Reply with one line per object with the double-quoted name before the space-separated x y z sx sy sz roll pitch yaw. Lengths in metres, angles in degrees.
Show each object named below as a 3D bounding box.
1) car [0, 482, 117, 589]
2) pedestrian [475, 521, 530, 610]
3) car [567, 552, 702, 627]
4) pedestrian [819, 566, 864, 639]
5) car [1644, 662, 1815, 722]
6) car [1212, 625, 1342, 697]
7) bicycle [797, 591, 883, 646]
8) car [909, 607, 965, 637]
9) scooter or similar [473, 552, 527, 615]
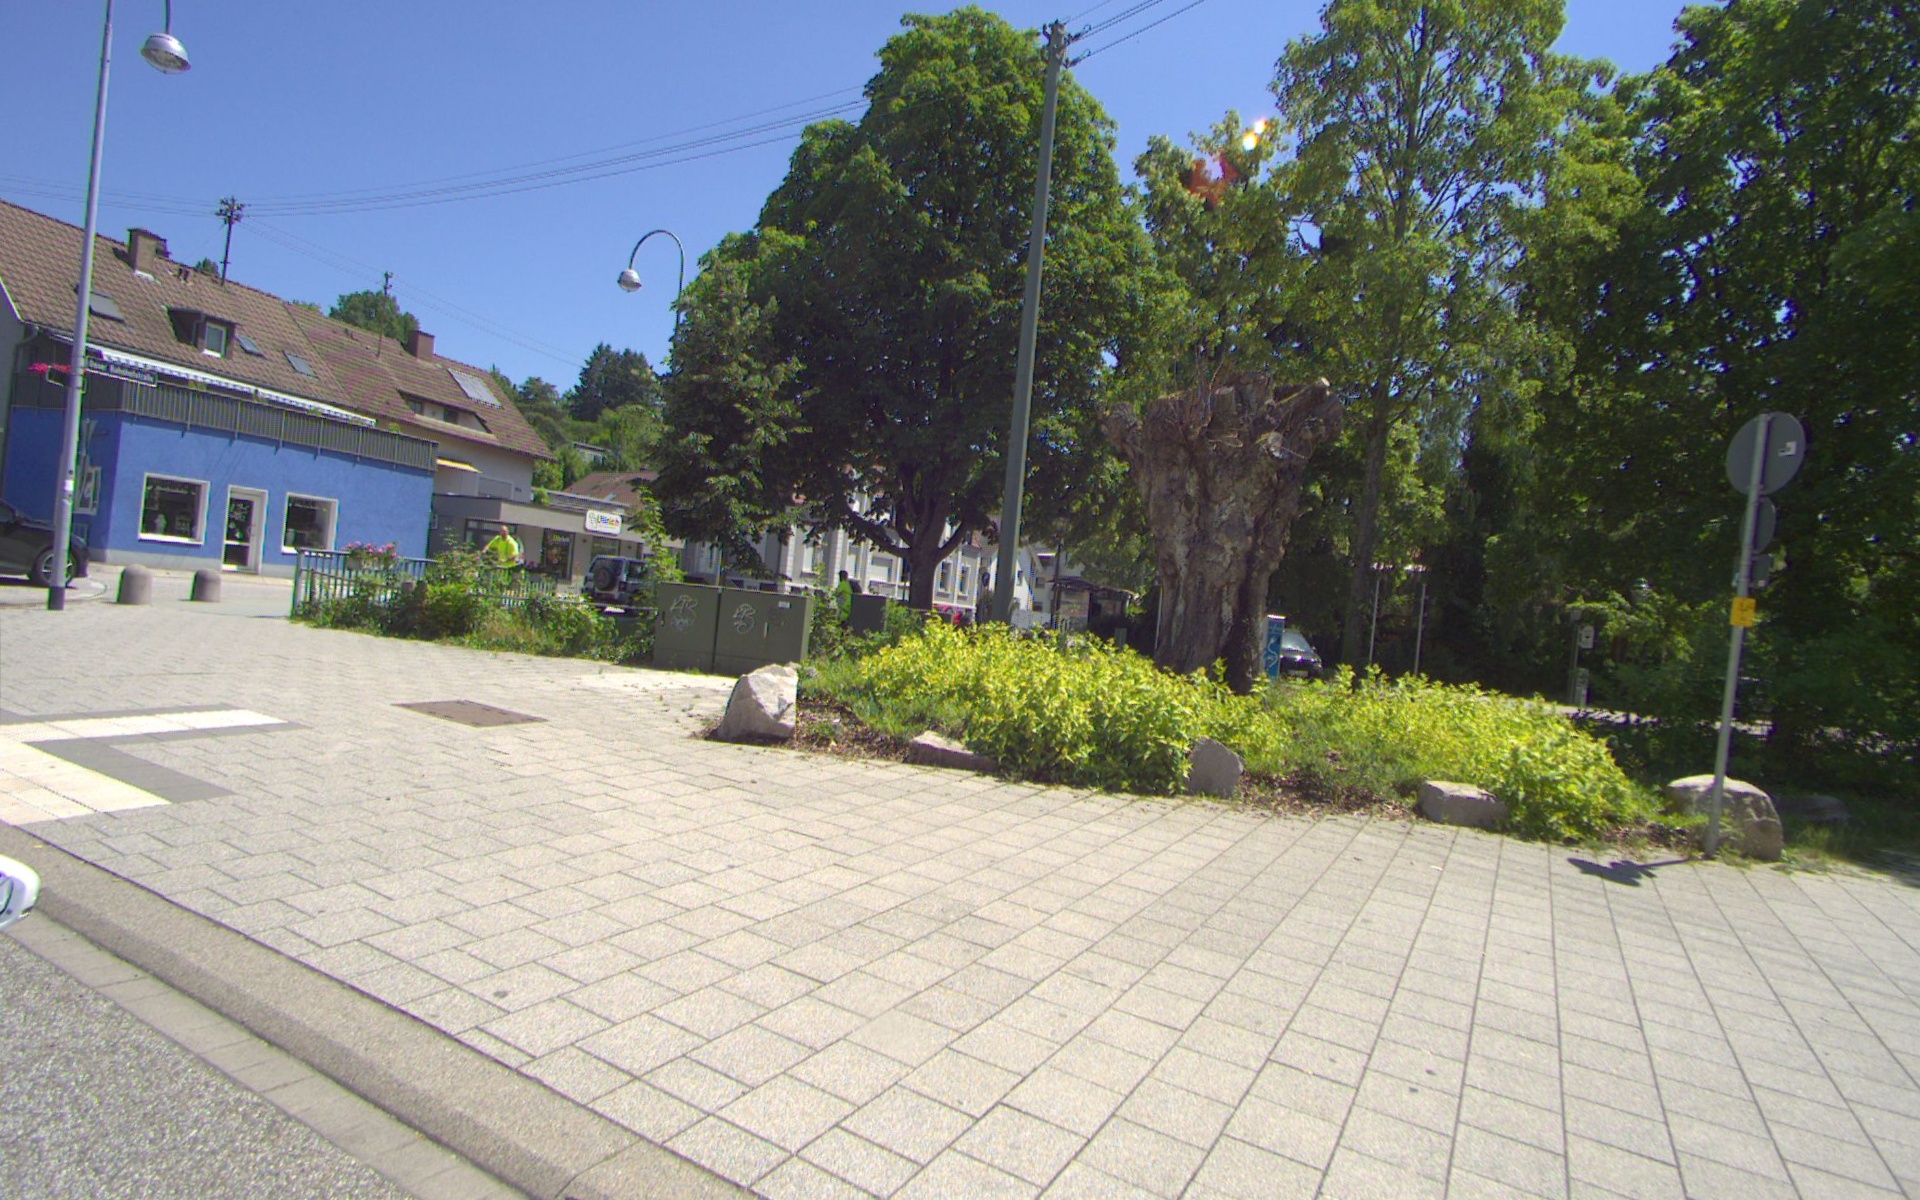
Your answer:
"car" -15.436 -1.102 14.943 1.777 1.566 4.264 7 0 8
"pedestrian" -9.798 -0.729 21.560 0.667 1.824 0.738 6 2 10
"car" -10.433 -0.278 32.571 1.731 1.896 4.233 6 -2 21
"pedestrian" -2.811 0.065 23.912 0.705 1.652 0.747 6 1 15
"car" 40.391 4.777 53.088 2.168 2.267 6.715 5 0 -29
"car" 8.233 1.538 26.488 1.645 1.472 3.756 6 0 -9
"bicycle" -2.845 0.441 23.891 1.814 1.097 0.747 6 1 15
"car" -1.377 1.387 61.622 1.747 1.571 3.672 5 -1 28
"scooter or similar" -9.818 -0.357 21.452 1.223 1.238 0.527 6 1 43
